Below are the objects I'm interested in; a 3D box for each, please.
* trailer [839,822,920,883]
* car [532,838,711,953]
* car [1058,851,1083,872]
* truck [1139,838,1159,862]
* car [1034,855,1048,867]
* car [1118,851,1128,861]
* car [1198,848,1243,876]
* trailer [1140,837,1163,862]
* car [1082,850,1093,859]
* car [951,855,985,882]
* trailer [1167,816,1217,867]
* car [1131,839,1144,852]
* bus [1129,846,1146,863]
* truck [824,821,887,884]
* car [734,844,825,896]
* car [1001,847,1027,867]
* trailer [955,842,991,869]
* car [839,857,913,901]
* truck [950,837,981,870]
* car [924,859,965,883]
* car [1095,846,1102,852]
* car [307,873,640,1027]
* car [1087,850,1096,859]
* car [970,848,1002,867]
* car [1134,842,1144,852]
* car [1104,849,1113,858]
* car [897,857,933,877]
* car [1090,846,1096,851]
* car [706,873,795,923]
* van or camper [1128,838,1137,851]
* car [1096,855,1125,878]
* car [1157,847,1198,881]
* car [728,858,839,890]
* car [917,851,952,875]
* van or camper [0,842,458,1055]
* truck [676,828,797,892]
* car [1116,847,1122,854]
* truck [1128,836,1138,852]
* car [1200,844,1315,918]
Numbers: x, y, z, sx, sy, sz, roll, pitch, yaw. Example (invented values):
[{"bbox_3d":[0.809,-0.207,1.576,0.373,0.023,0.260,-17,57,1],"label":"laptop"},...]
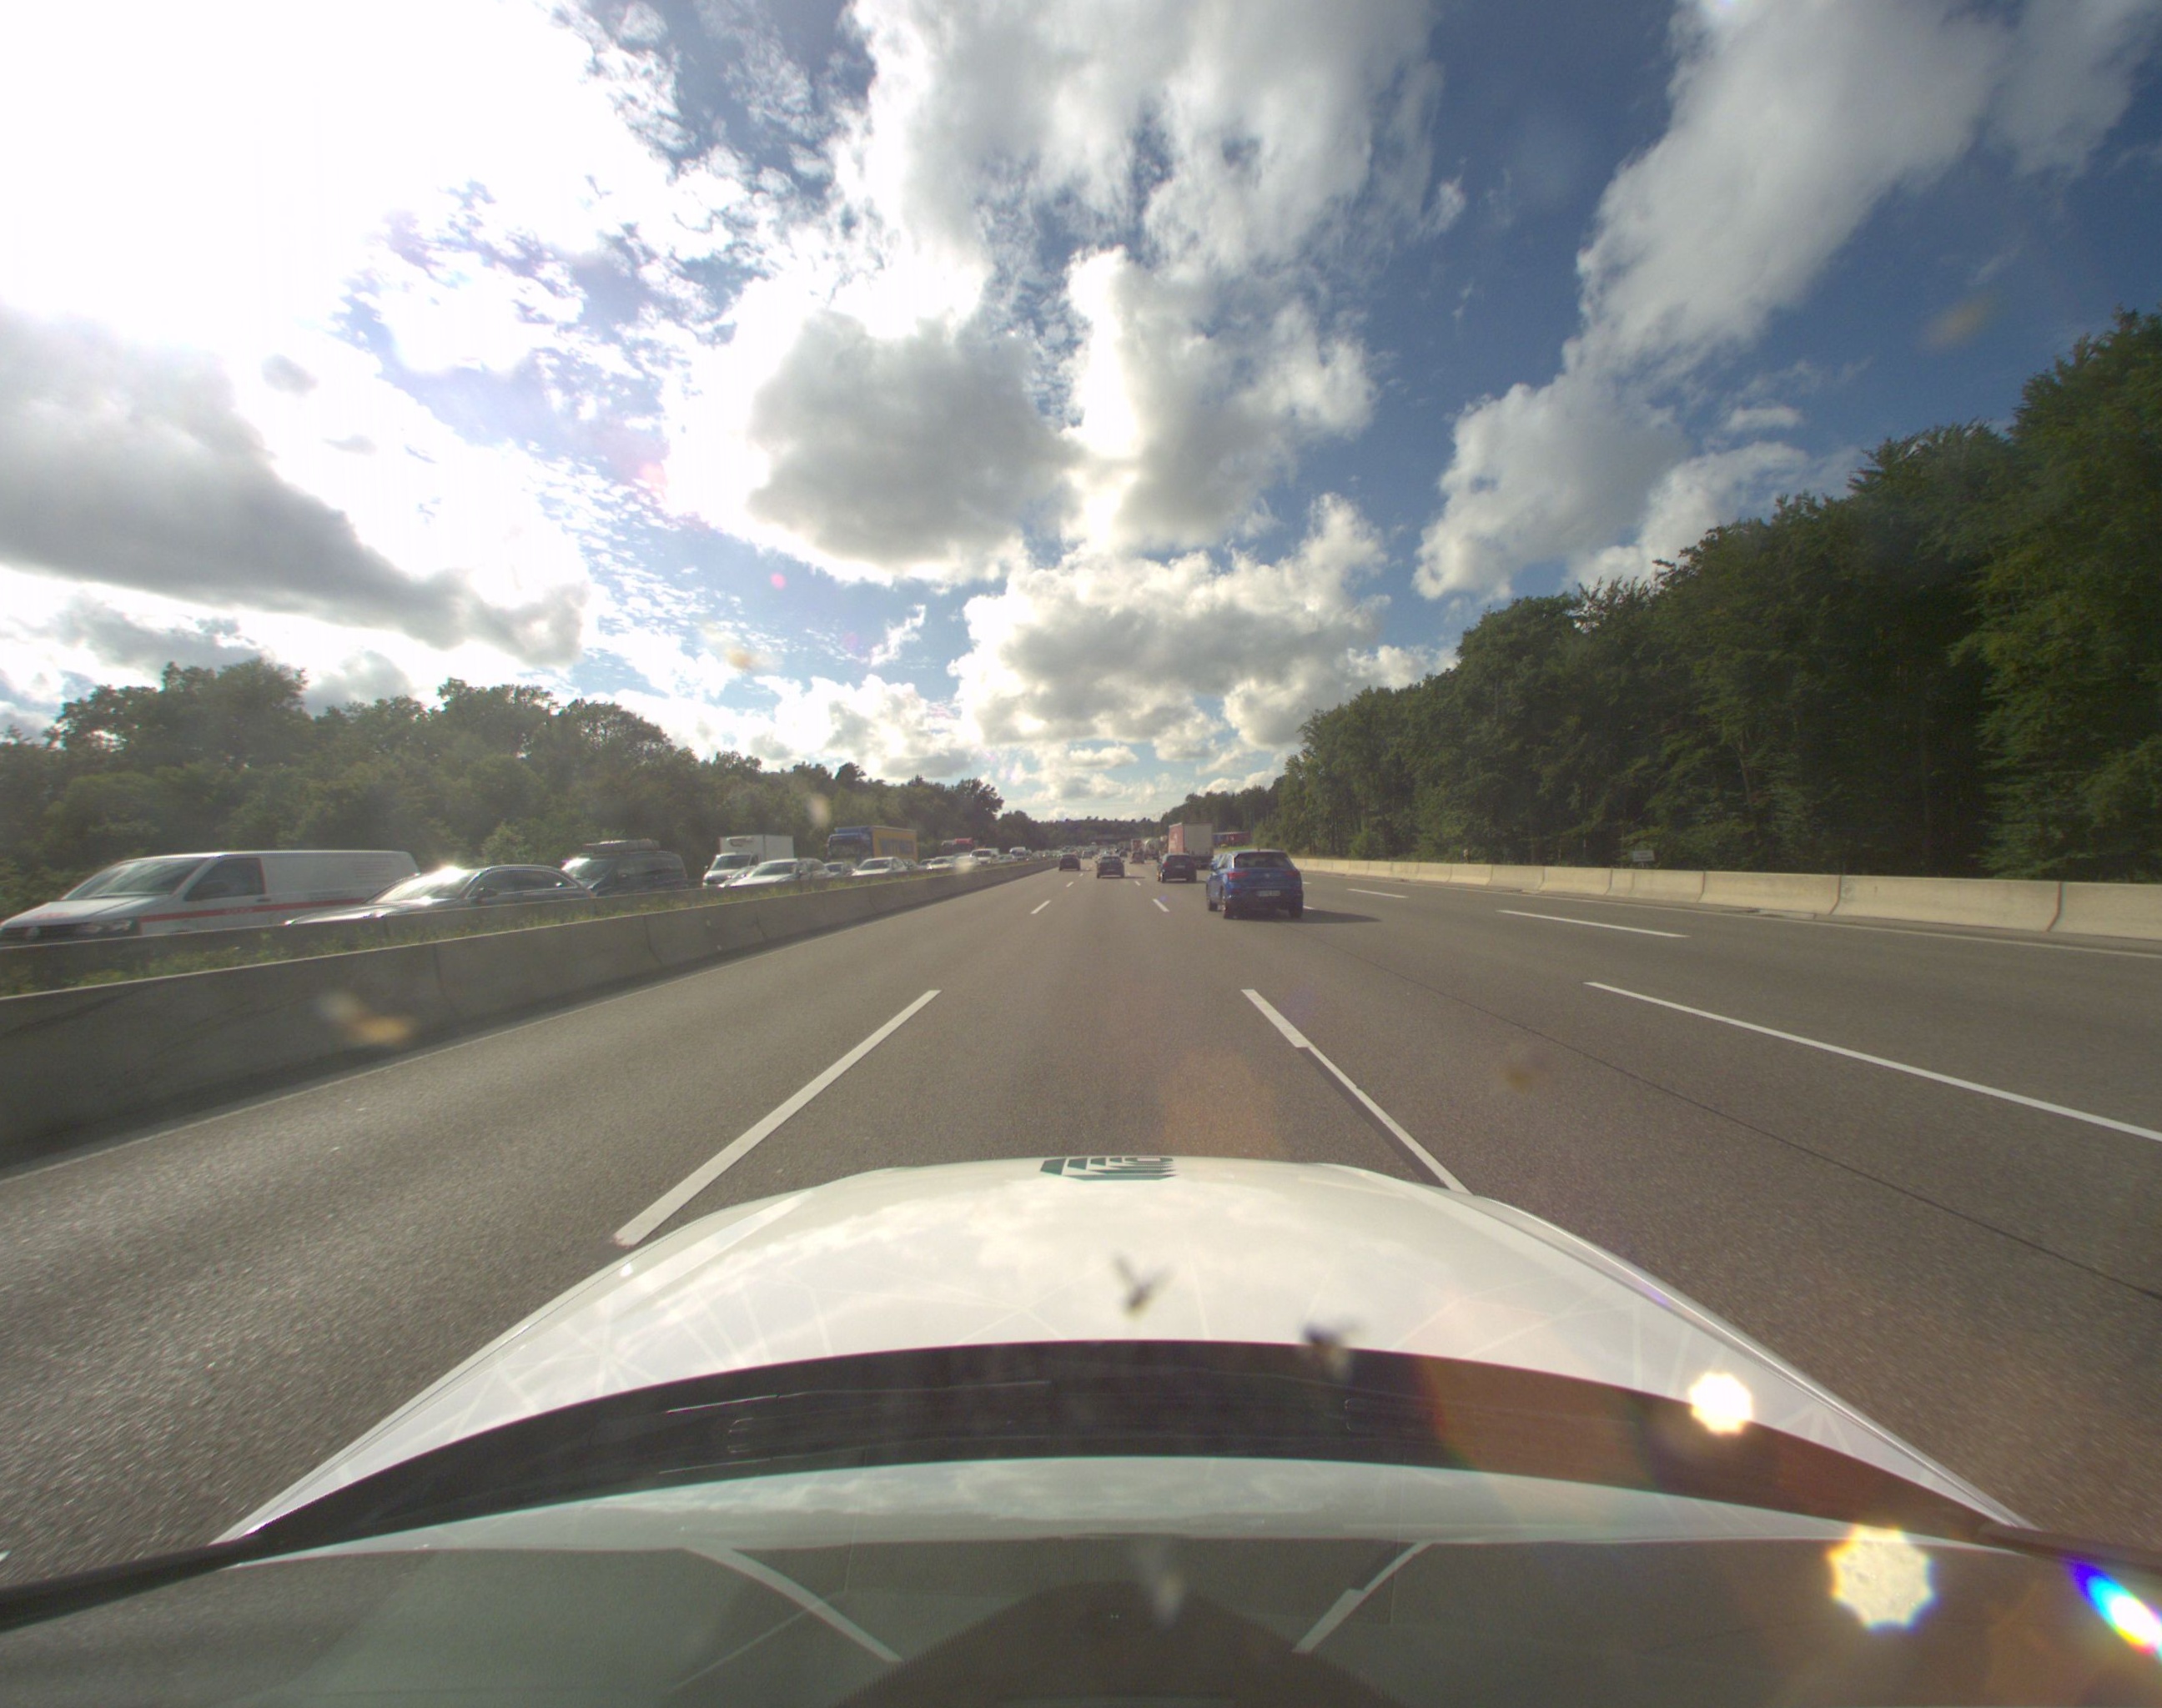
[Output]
[{"bbox_3d":[-15.556,0.014,64.298,2.761,4.235,13.660,-1,-1,1],"label":"trailer"},{"bbox_3d":[-13.092,1.065,23.713,1.986,2.963,5.404,0,0,1],"label":"car"},{"bbox_3d":[-0.949,0.668,74.115,1.986,1.776,4.002,-2,0,2],"label":"car"},{"bbox_3d":[12.253,-0.640,147.311,3.034,4.160,7.129,-1,-1,2],"label":"truck"},{"bbox_3d":[-5.812,0.974,119.006,1.829,1.591,4.289,-1,0,1],"label":"car"},{"bbox_3d":[8.791,0.441,170.637,1.986,2.014,4.001,0,0,2],"label":"car"},{"bbox_3d":[8.171,0.452,47.997,1.711,1.511,4.298,-2,-1,-2],"label":"car"},{"bbox_3d":[12.047,-0.636,140.304,3.025,4.016,12.248,-1,-1,1],"label":"trailer"},{"bbox_3d":[1.257,0.130,159.322,2.146,1.776,4.002,0,0,2],"label":"car"},{"bbox_3d":[-7.916,1.012,57.381,1.681,1.816,4.296,-1,-1,1],"label":"car"},{"bbox_3d":[9.770,-0.909,73.203,3.027,4.035,13.894,-1,-1,2],"label":"trailer"},{"bbox_3d":[12.762,-1.917,185.551,2.855,2.991,5.153,-1,-1,3],"label":"car"},{"bbox_3d":[7.137,0.053,103.242,1.986,2.014,4.002,-1,-1,2],"label":"bus"},{"bbox_3d":[-15.669,-0.040,56.863,2.726,4.148,5.617,-1,-1,1],"label":"truck"},{"bbox_3d":[-12.453,0.668,34.018,1.986,2.014,4.657,-1,-1,1],"label":"car"},{"bbox_3d":[-5.508,0.248,67.309,1.717,1.603,4.000,0,0,1],"label":"car"},{"bbox_3d":[-14.187,0.124,108.366,2.718,3.335,14.222,-1,0,1],"label":"trailer"},{"bbox_3d":[-8.807,1.034,35.397,1.986,1.743,4.297,0,0,1],"label":"car"},{"bbox_3d":[-14.307,-0.091,101.327,2.766,3.938,6.854,-1,0,1],"label":"truck"},{"bbox_3d":[-8.299,0.995,49.865,1.751,1.377,4.001,0,0,1],"label":"car"},{"bbox_3d":[5.261,-1.510,246.559,1.986,2.013,4.002,0,0,2],"label":"car"},{"bbox_3d":[-9.501,1.362,13.318,1.986,2.014,4.412,-2,-1,2],"label":"car"},{"bbox_3d":[2.492,0.137,190.556,1.986,2.013,4.001,0,0,2],"label":"car"},{"bbox_3d":[-7.551,0.303,65.346,1.843,1.354,5.489,-1,-1,1],"label":"car"},{"bbox_3d":[12.494,-1.510,175.278,1.986,2.014,4.001,-1,-1,2],"label":"car"},{"bbox_3d":[6.307,-0.080,187.582,1.986,2.014,4.001,-2,-1,2],"label":"car"},{"bbox_3d":[-12.064,0.939,59.447,1.727,1.401,3.836,-1,-1,1],"label":"car"},{"bbox_3d":[3.399,-1.643,230.998,1.617,1.470,3.817,0,0,2],"label":"car"},{"bbox_3d":[-12.891,1.661,32.068,1.681,1.816,4.296,-1,-1,1],"label":"car"},{"bbox_3d":[13.266,-2.430,209.757,2.342,3.144,5.714,-1,-1,3],"label":"van or camper"},{"bbox_3d":[1.837,0.779,51.531,1.728,1.365,4.000,0,0,1],"label":"car"},{"bbox_3d":[4.963,0.498,42.255,1.792,1.644,4.002,0,0,2],"label":"car"},{"bbox_3d":[-9.090,0.579,25.288,1.629,0.858,4.607,0,0,1],"label":"car"},{"bbox_3d":[-11.308,0.664,63.203,1.739,1.766,4.843,0,0,1],"label":"car"},{"bbox_3d":[-13.515,1.267,13.308,2.037,2.711,5.753,-1,-1,2],"label":"van or camper"},{"bbox_3d":[-16.578,0.259,39.867,2.319,2.801,7.952,0,0,2],"label":"truck"},{"bbox_3d":[11.795,-1.071,252.444,1.986,2.013,4.002,0,0,2],"label":"car"},{"bbox_3d":[12.936,-2.531,203.354,2.348,3.572,11.274,-1,-1,3],"label":"truck"},{"bbox_3d":[4.130,0.600,19.821,1.916,1.541,4.648,-2,0,2],"label":"car"}]
